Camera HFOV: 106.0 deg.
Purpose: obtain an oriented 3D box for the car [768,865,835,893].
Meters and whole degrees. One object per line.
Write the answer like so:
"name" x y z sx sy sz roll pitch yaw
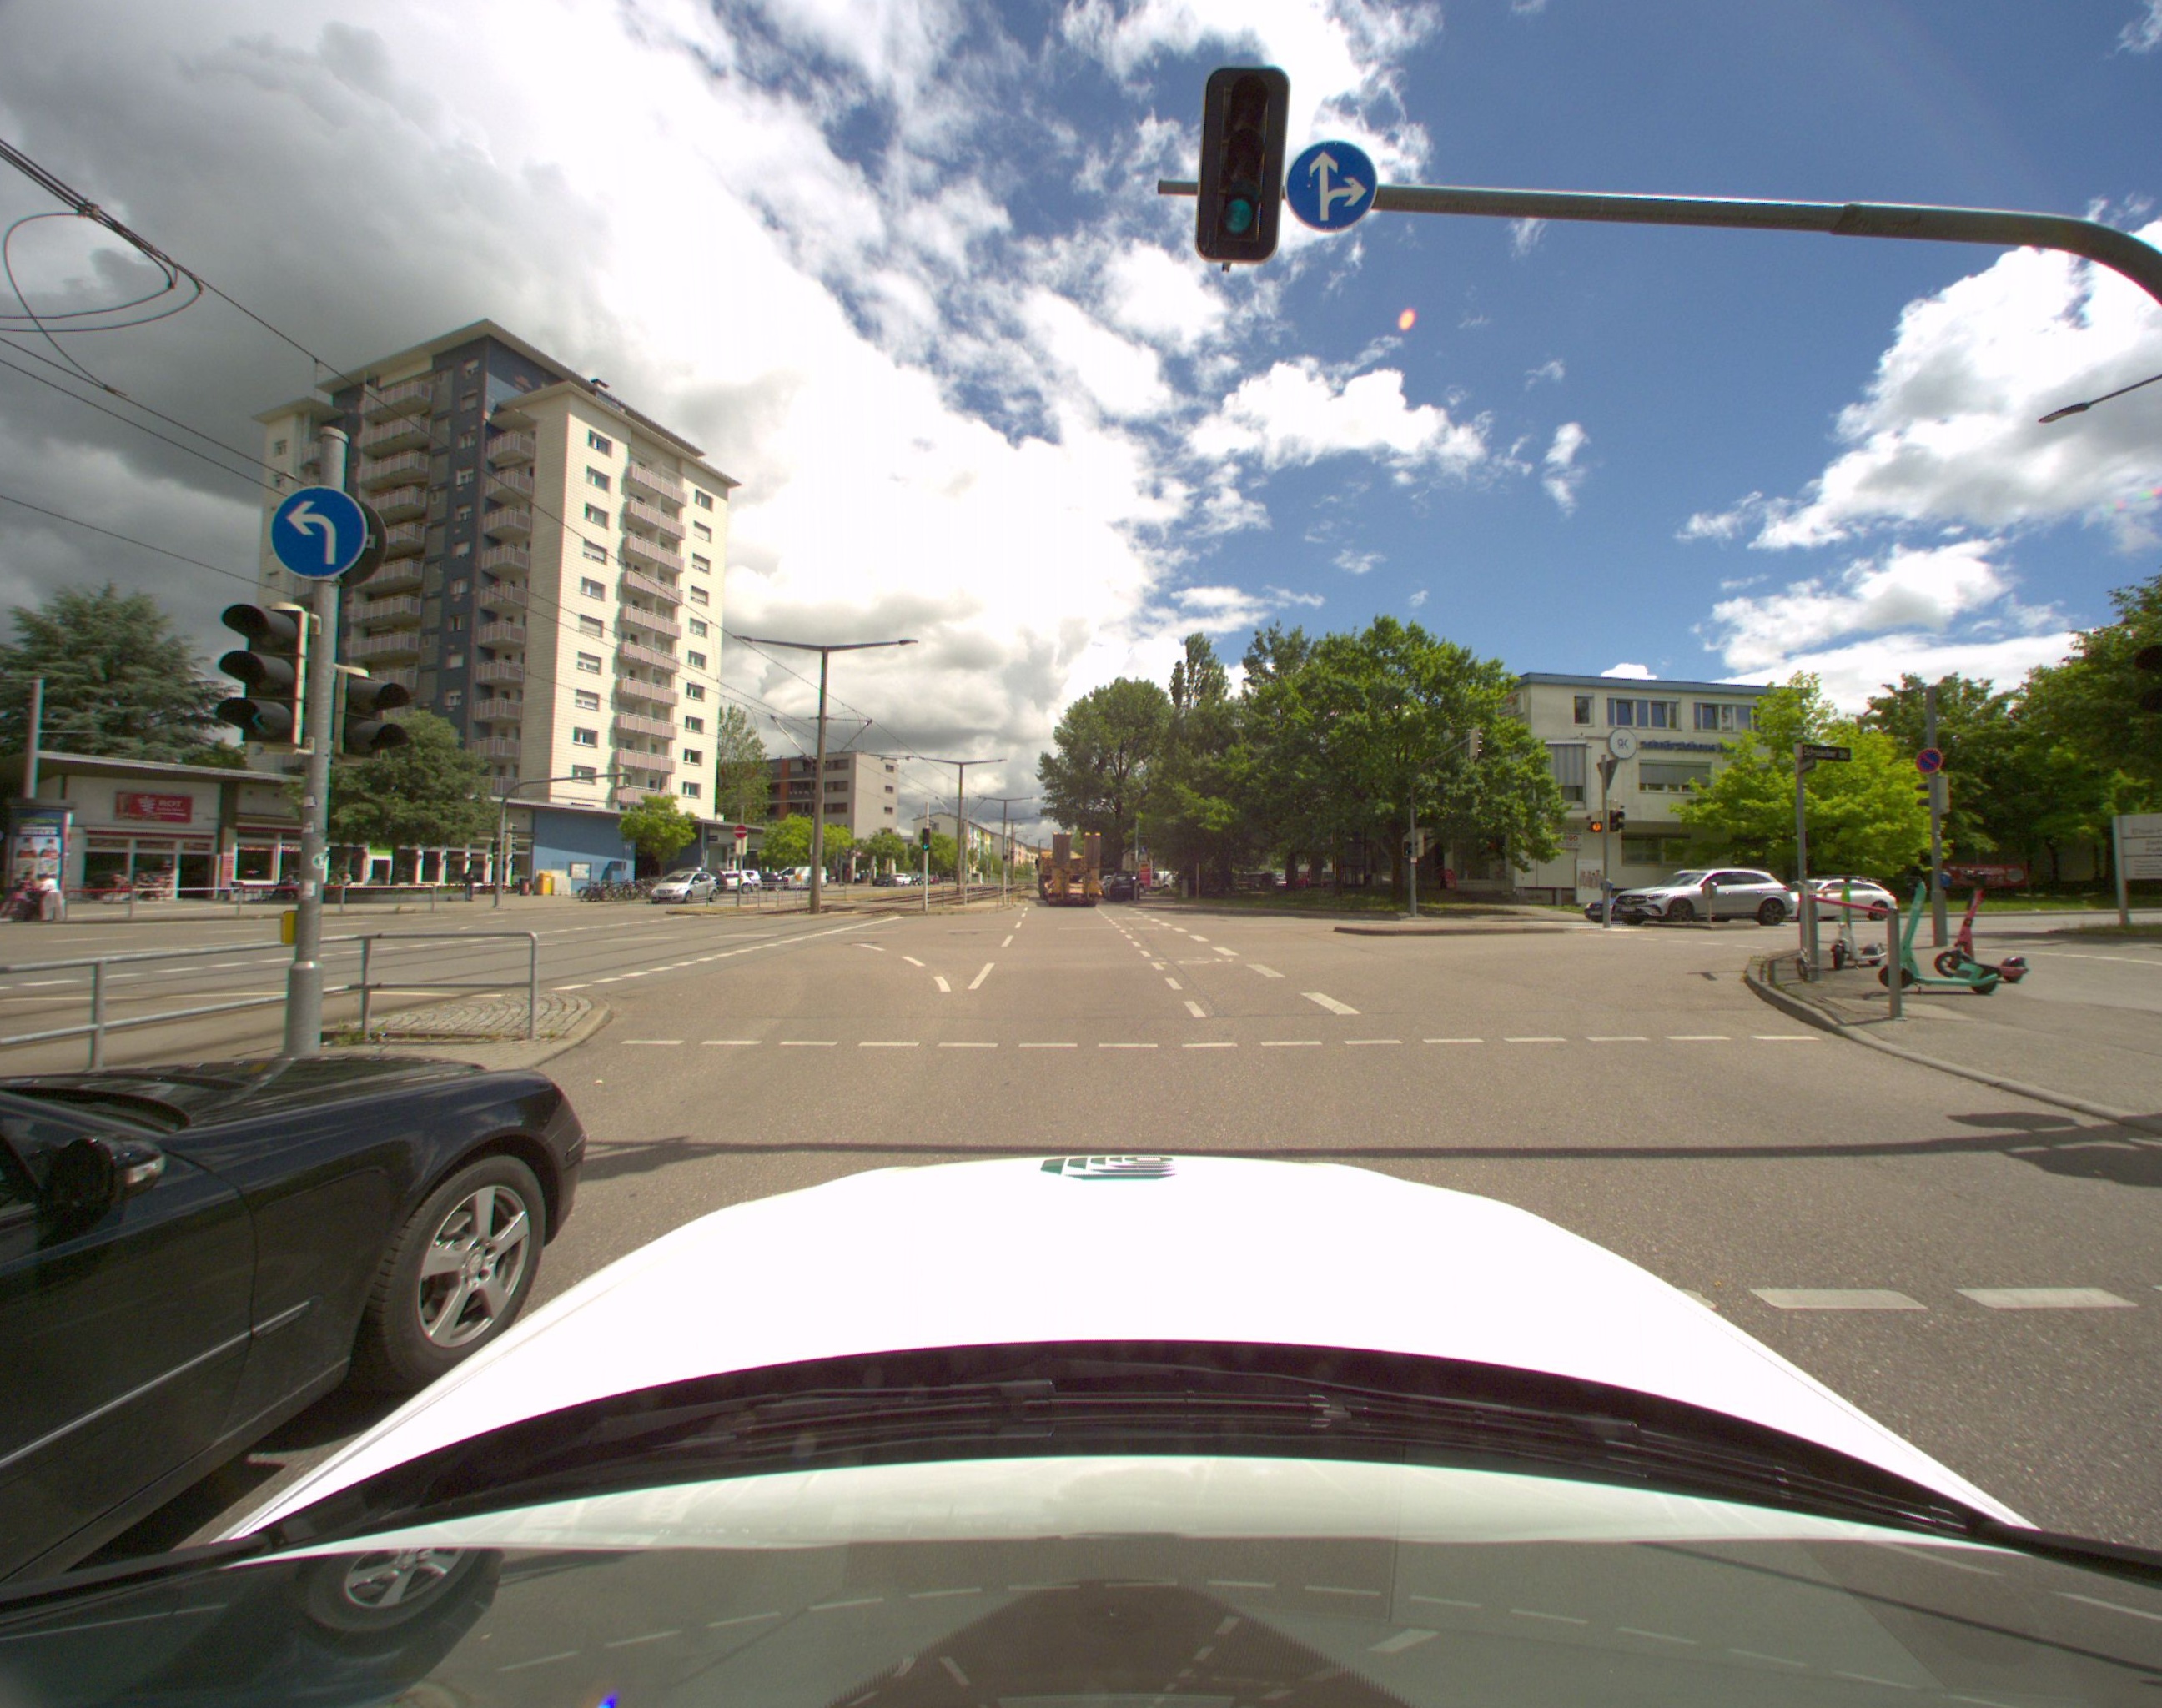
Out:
"car" -22.786 2.004 66.538 4.787 2.157 1.883 1 -2 -42

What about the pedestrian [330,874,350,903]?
"pedestrian" -38.446 1.778 42.258 0.522 1.472 0.573 0 -1 3

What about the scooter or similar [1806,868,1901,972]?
"scooter or similar" 9.707 0.795 10.228 1.213 1.235 0.475 0 -1 -27

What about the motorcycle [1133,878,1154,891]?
"motorcycle" 5.694 2.771 74.536 1.803 1.210 0.706 0 -1 -24

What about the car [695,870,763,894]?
"car" -24.955 1.954 57.835 1.882 1.632 4.024 -2 -2 44

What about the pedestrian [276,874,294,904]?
"pedestrian" -40.431 1.776 41.369 0.565 1.472 0.529 -1 -2 32

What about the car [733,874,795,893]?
"car" -24.089 2.246 61.999 4.022 1.383 1.883 1 -1 -42

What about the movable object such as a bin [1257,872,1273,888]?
"movable object such as a bin" 16.147 2.266 71.546 1.113 1.430 1.284 0 -1 -3

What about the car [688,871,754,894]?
"car" -24.349 1.926 55.176 3.786 1.496 1.727 1 -1 -40

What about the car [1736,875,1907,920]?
"car" 25.223 1.492 27.818 4.387 1.415 1.945 0 -4 -9

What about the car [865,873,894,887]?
"car" -22.056 2.828 89.195 1.746 1.475 4.405 0 -1 5

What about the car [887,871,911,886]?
"car" -21.586 2.914 96.726 1.989 1.663 4.095 1 -1 -3

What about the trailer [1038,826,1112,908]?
"trailer" -0.555 0.707 43.692 3.046 3.773 11.590 0 -1 -5

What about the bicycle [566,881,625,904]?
"bicycle" -23.493 1.853 39.395 2.419 1.066 0.705 0 -1 0

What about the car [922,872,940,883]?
"car" -21.220 3.342 115.156 1.605 1.426 3.428 -1 -1 6

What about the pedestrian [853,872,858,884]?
"pedestrian" -27.022 2.874 97.441 0.500 1.460 0.555 0 -2 -28

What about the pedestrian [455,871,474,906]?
"pedestrian" -29.991 1.676 39.624 0.415 1.643 0.600 0 -1 -2

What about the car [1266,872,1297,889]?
"car" 18.178 2.412 73.954 1.933 1.491 4.001 0 -1 1

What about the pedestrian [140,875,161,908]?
"pedestrian" -42.876 1.723 37.537 0.565 1.472 0.529 -1 -2 32

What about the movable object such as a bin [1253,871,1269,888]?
"movable object such as a bin" 16.079 2.284 72.868 1.113 1.430 1.284 0 -1 -3

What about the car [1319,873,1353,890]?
"car" 23.043 2.437 73.803 1.738 1.470 3.997 0 -1 -1

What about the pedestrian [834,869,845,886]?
"pedestrian" -24.897 2.418 83.950 0.838 1.650 0.613 1 -1 -1

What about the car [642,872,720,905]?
"car" -19.791 1.669 40.426 1.810 1.533 3.758 0 -1 4

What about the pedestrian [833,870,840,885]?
"pedestrian" -26.353 2.536 87.840 0.667 1.574 0.682 0 -1 -28

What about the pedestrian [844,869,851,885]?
"pedestrian" -26.039 2.546 90.814 0.609 1.793 0.843 0 -1 -1

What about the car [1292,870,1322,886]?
"car" 20.665 2.199 74.528 1.737 1.443 4.001 0 -1 1

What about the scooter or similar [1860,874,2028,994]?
"scooter or similar" 8.866 0.808 8.393 1.162 1.195 0.449 0 -1 5

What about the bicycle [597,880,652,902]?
"bicycle" -23.452 1.897 41.834 2.419 1.066 0.705 0 -1 0

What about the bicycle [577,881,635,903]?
"bicycle" -23.447 1.868 40.194 2.419 1.066 0.705 0 -1 0

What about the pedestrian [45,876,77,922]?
"pedestrian" -33.258 1.458 26.550 0.512 1.472 0.529 -1 -1 26

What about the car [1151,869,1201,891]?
"car" 8.246 2.225 70.680 4.005 1.823 1.796 0 -1 -24

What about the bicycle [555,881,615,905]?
"bicycle" -23.501 1.839 38.612 2.419 1.066 0.705 0 -1 0

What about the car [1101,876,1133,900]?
"car" 2.372 2.260 54.577 1.641 1.458 4.069 0 -1 -4

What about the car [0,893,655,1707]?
"car" -2.810 0.821 0.962 1.963 1.398 4.677 0 -1 3

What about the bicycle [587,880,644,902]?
"bicycle" -23.470 1.884 41.089 2.419 1.066 0.705 0 -1 0

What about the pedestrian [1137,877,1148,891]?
"pedestrian" 4.758 2.327 62.950 0.775 1.055 0.546 0 -1 -7

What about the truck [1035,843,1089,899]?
"truck" -1.381 1.093 53.087 2.830 3.330 7.965 0 -1 -6

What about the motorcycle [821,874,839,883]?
"motorcycle" -30.874 3.000 100.220 1.888 1.178 0.740 0 -1 -3

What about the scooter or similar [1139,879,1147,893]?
"scooter or similar" 4.768 2.479 62.957 0.476 1.055 0.895 0 -1 -7

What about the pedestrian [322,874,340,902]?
"pedestrian" -39.605 1.800 43.032 0.565 1.472 0.529 -1 -2 29

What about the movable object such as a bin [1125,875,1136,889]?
"movable object such as a bin" 5.411 3.042 88.657 1.095 1.439 0.760 0 -1 -3

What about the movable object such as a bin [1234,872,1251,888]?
"movable object such as a bin" 14.017 2.260 70.720 1.113 1.430 1.284 0 -1 -3

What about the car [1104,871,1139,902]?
"car" 2.434 1.951 50.038 1.640 1.762 4.564 0 -1 -3

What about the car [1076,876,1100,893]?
"car" 0.577 2.713 72.501 1.812 1.449 3.820 0 -1 -4

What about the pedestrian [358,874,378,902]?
"pedestrian" -37.970 1.794 43.351 0.522 1.472 0.573 0 -1 3

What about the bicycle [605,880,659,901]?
"bicycle" -23.470 1.911 42.601 2.419 1.066 0.705 0 -1 0

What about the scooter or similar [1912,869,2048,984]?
"scooter or similar" 10.166 0.794 9.220 1.182 1.235 0.478 0 -1 -12

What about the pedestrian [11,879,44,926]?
"pedestrian" -33.977 1.550 26.274 0.565 1.472 0.529 -1 -1 26

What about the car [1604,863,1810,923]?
"car" 17.978 1.131 23.496 4.636 1.592 1.918 0 -4 -7

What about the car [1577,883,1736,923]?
"car" 18.751 1.591 26.630 3.954 1.225 1.908 0 -4 -7
